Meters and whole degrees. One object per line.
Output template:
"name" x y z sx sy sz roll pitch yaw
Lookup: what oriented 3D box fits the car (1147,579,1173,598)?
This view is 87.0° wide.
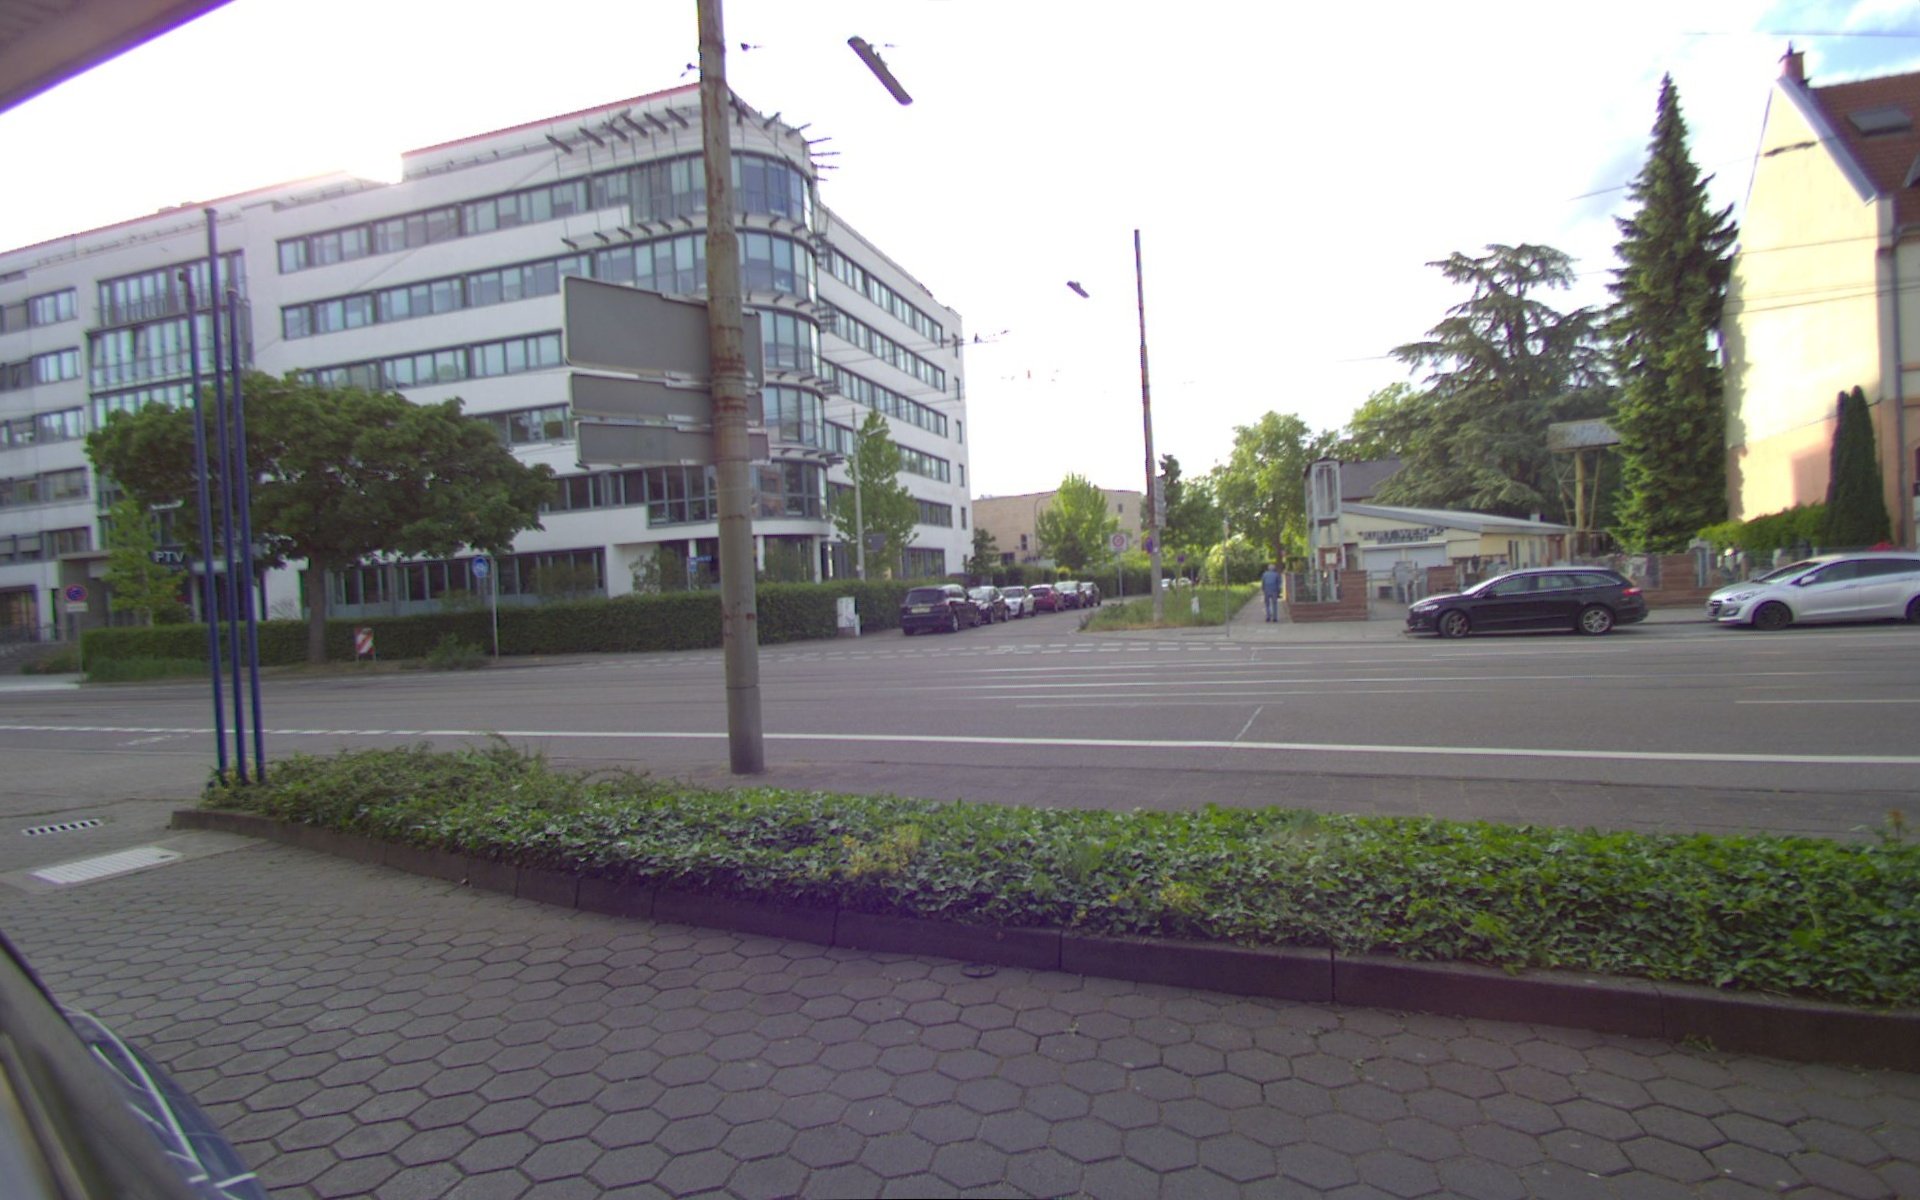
"car" 19.965 -1.150 100.909 1.811 1.654 4.044 -4 0 22

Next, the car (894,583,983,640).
"car" -0.681 0.352 35.569 1.807 1.701 4.370 -4 1 16

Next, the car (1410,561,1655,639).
"car" 13.018 0.003 23.370 4.632 1.533 1.842 -3 2 22

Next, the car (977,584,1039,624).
"car" 2.230 0.146 45.688 1.807 1.589 4.175 -4 0 16

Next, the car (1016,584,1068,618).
"car" 4.306 0.015 52.410 1.807 1.589 4.175 -4 0 16

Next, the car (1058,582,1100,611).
"car" 7.392 -0.222 62.573 1.807 1.585 4.052 -4 0 16

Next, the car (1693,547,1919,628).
"car" 18.411 -0.273 21.399 4.349 1.493 1.732 -3 1 22

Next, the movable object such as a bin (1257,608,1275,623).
"movable object such as a bin" 9.469 0.478 31.303 0.362 0.397 0.663 -3 3 1

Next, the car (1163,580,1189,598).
"car" 22.842 -1.171 106.856 1.813 1.654 4.040 -4 0 25

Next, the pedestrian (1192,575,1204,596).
"pedestrian" 22.552 -1.381 95.956 0.966 1.896 1.055 -1 0 20

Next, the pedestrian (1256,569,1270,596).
"pedestrian" 21.671 -1.228 72.361 0.965 1.896 1.056 -1 0 17

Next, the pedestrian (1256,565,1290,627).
"pedestrian" 9.342 -0.121 30.203 0.903 1.711 0.920 -1 6 20

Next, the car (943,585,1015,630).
"car" 0.836 0.265 40.984 1.807 1.589 4.175 -4 0 16

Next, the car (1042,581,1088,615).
"car" 6.037 -0.144 57.807 1.807 1.704 4.392 -4 0 16

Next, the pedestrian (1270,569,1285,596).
"pedestrian" 22.593 -1.240 72.051 0.965 1.896 1.056 -1 0 17
